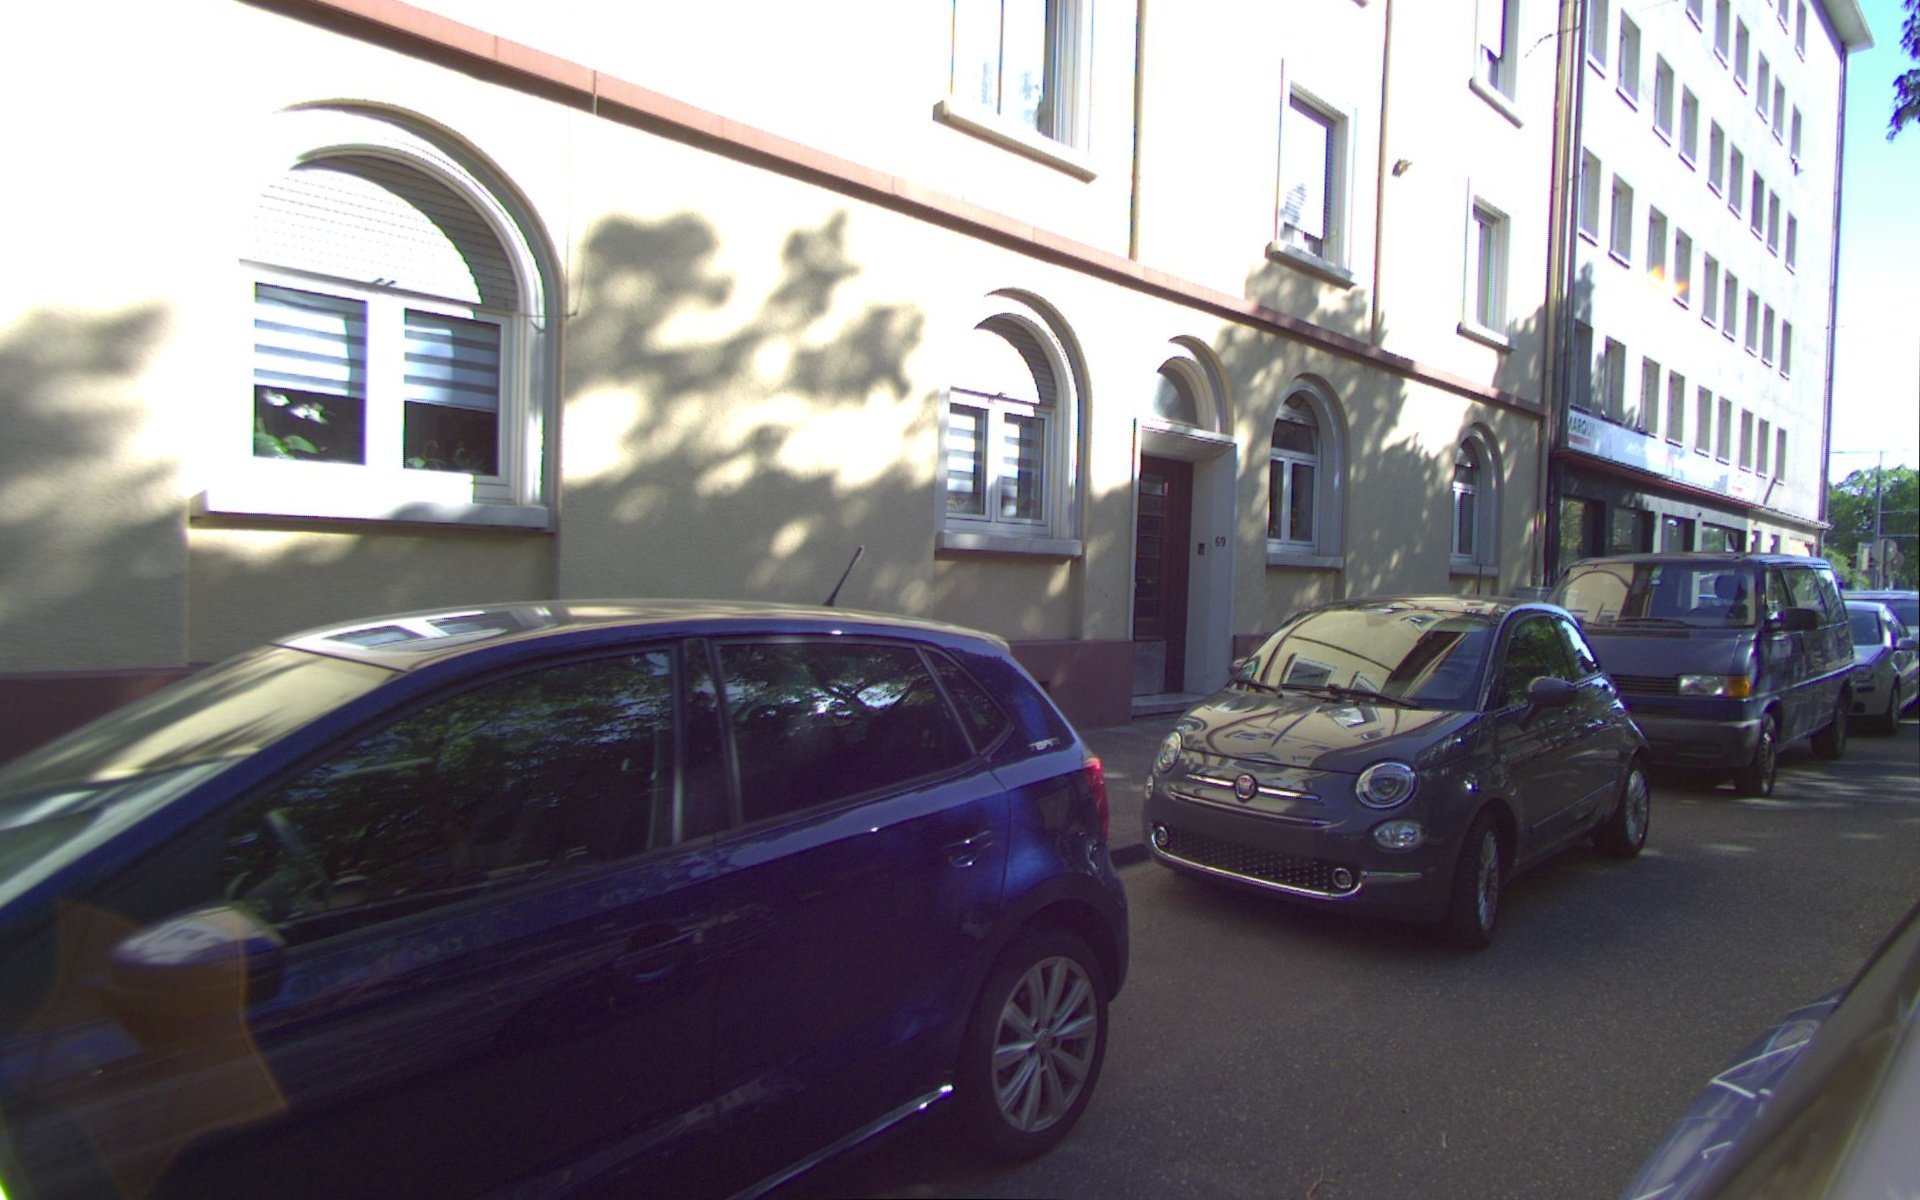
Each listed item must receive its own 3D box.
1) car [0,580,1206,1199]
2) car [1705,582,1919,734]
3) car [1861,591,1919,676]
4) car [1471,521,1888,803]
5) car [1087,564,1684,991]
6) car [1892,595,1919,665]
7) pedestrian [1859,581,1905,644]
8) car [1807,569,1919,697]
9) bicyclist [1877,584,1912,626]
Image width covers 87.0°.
[{"bbox_3d":[-1.153,0.687,2.319,3.798,1.411,1.550,0,2,-45],"label":"car"},{"bbox_3d":[10.817,0.588,12.473,4.164,1.519,1.765,0,2,-41],"label":"car"},{"bbox_3d":[18.792,0.613,19.557,1.803,1.481,4.369,3,2,45],"label":"car"},{"bbox_3d":[6.700,0.387,9.194,4.760,1.924,1.953,0,2,-40],"label":"car"},{"bbox_3d":[2.460,0.615,5.433,3.534,1.517,1.624,0,2,-43],"label":"car"},{"bbox_3d":[22.263,0.669,22.642,3.607,1.481,1.600,0,2,-40],"label":"car"},{"bbox_3d":[26.168,0.352,28.735,0.731,1.743,0.762,1,1,-34],"label":"pedestrian"},{"bbox_3d":[14.916,0.464,15.980,4.433,1.775,1.765,0,2,-43],"label":"car"},{"bbox_3d":[36.280,0.193,39.306,0.820,1.583,0.590,3,2,28],"label":"bicyclist"}]
